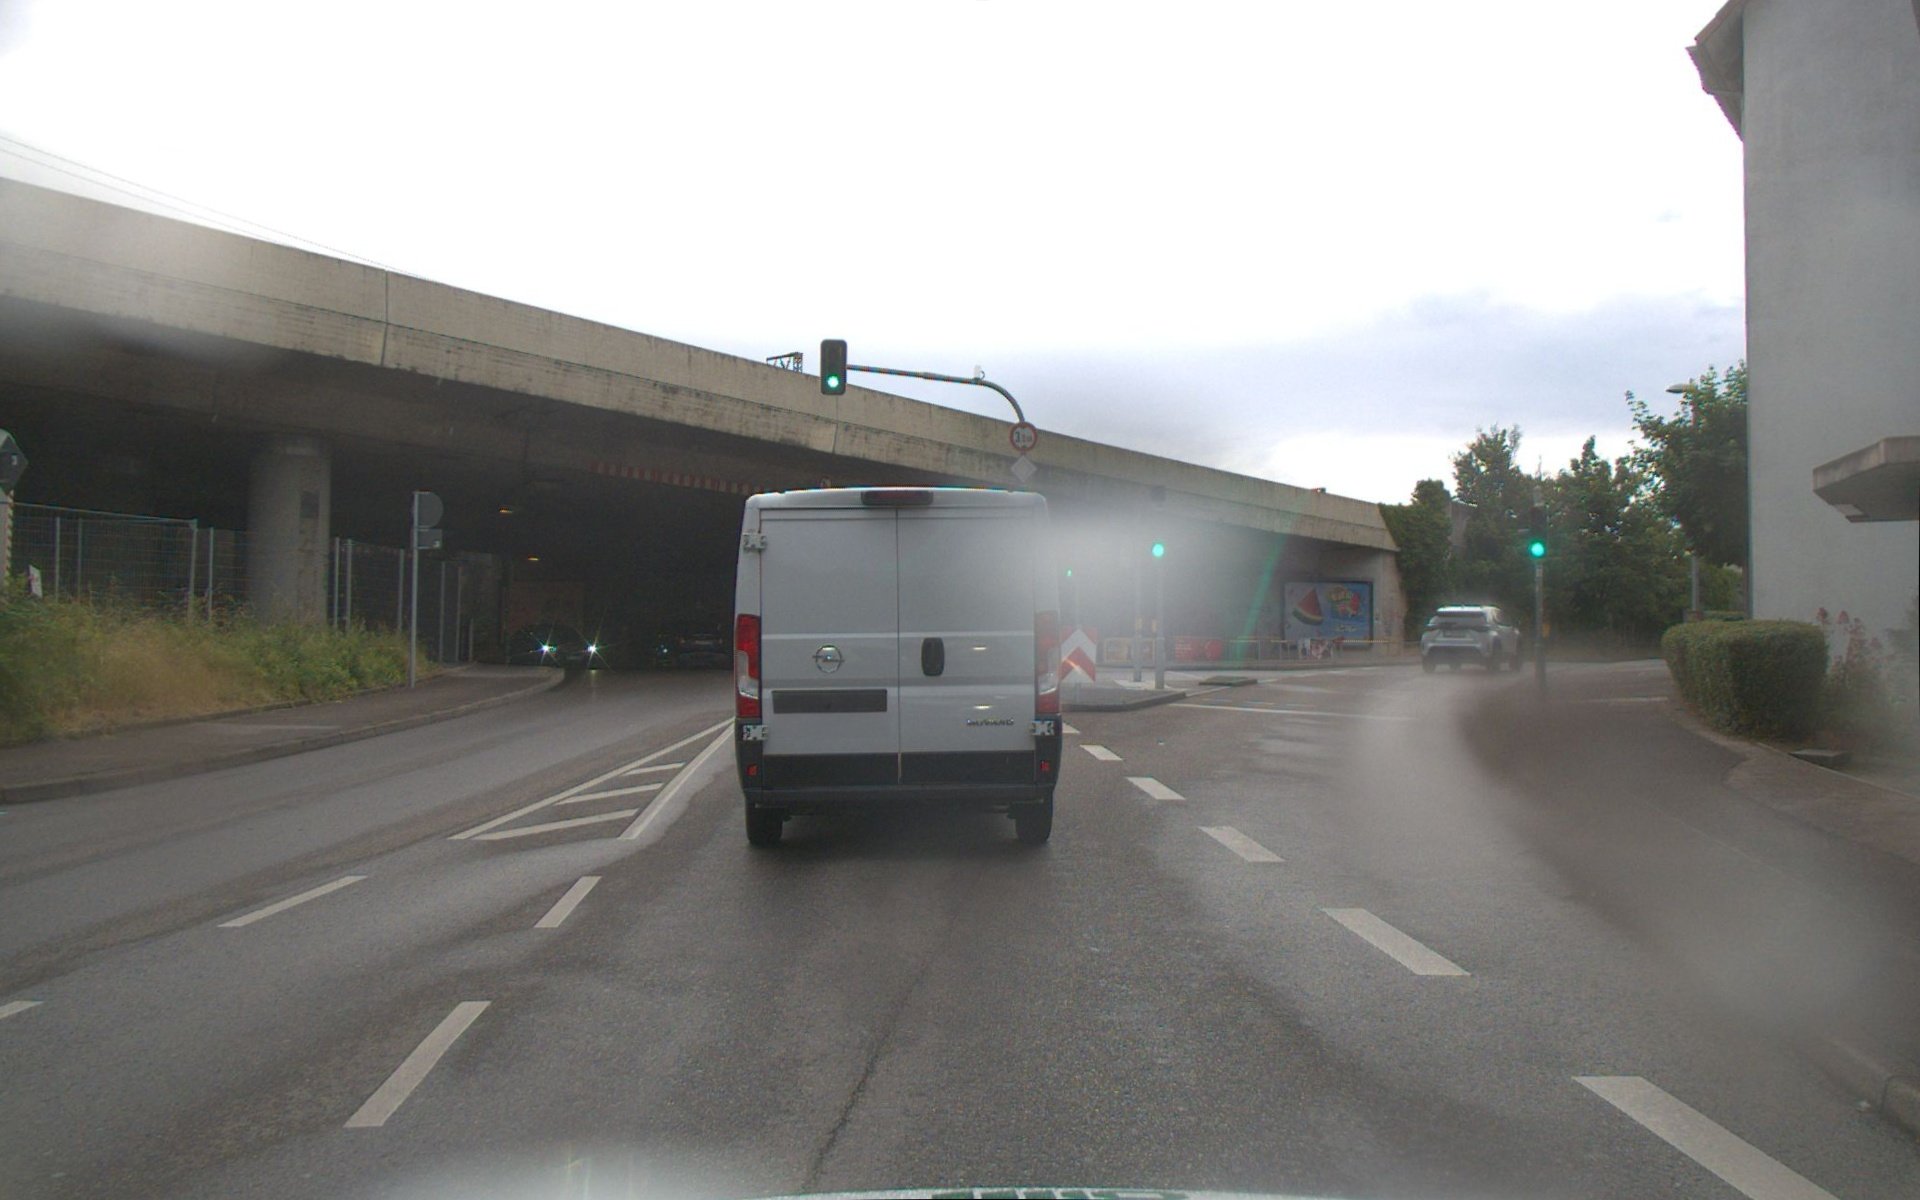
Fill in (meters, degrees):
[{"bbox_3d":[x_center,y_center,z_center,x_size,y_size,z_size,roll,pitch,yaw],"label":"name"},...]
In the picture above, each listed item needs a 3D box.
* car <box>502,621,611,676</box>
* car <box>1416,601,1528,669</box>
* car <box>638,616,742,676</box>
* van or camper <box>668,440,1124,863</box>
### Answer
[{"bbox_3d":[-12.694,1.497,51.868,1.975,1.557,4.449,1,0,-33],"label":"car"},{"bbox_3d":[12.381,0.818,39.848,1.840,1.557,3.993,0,-1,29],"label":"car"},{"bbox_3d":[-8.454,1.394,51.590,1.972,1.780,3.961,1,0,-29],"label":"car"},{"bbox_3d":[-0.484,0.325,12.139,2.644,2.459,4.900,1,0,-3],"label":"van or camper"}]
